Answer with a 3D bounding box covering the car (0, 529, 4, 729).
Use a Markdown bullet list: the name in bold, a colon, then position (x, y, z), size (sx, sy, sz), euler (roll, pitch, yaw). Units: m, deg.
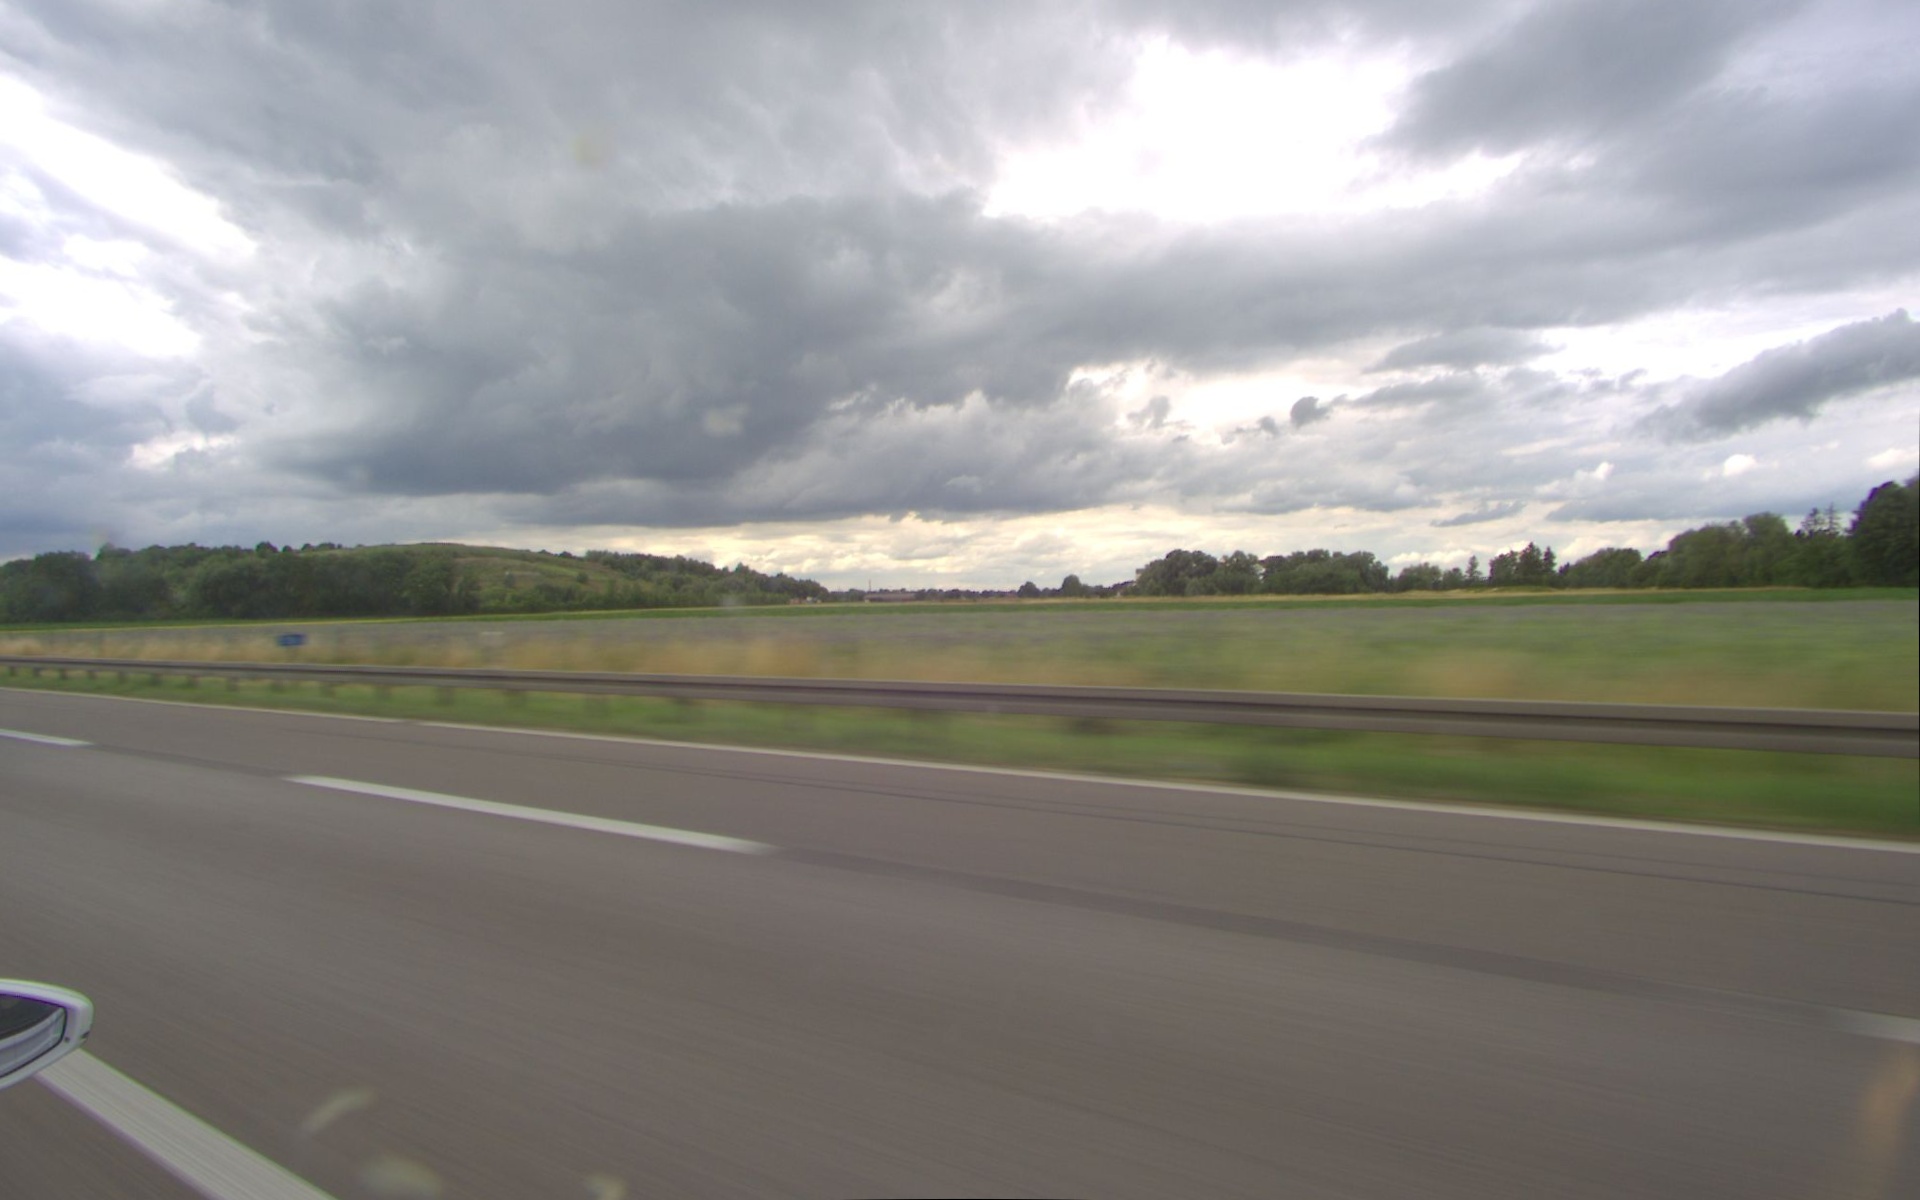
- **car**: position (-15.692, 0.401, 13.836), size (6.167, 2.601, 2.216), euler (-1, 0, 33)
